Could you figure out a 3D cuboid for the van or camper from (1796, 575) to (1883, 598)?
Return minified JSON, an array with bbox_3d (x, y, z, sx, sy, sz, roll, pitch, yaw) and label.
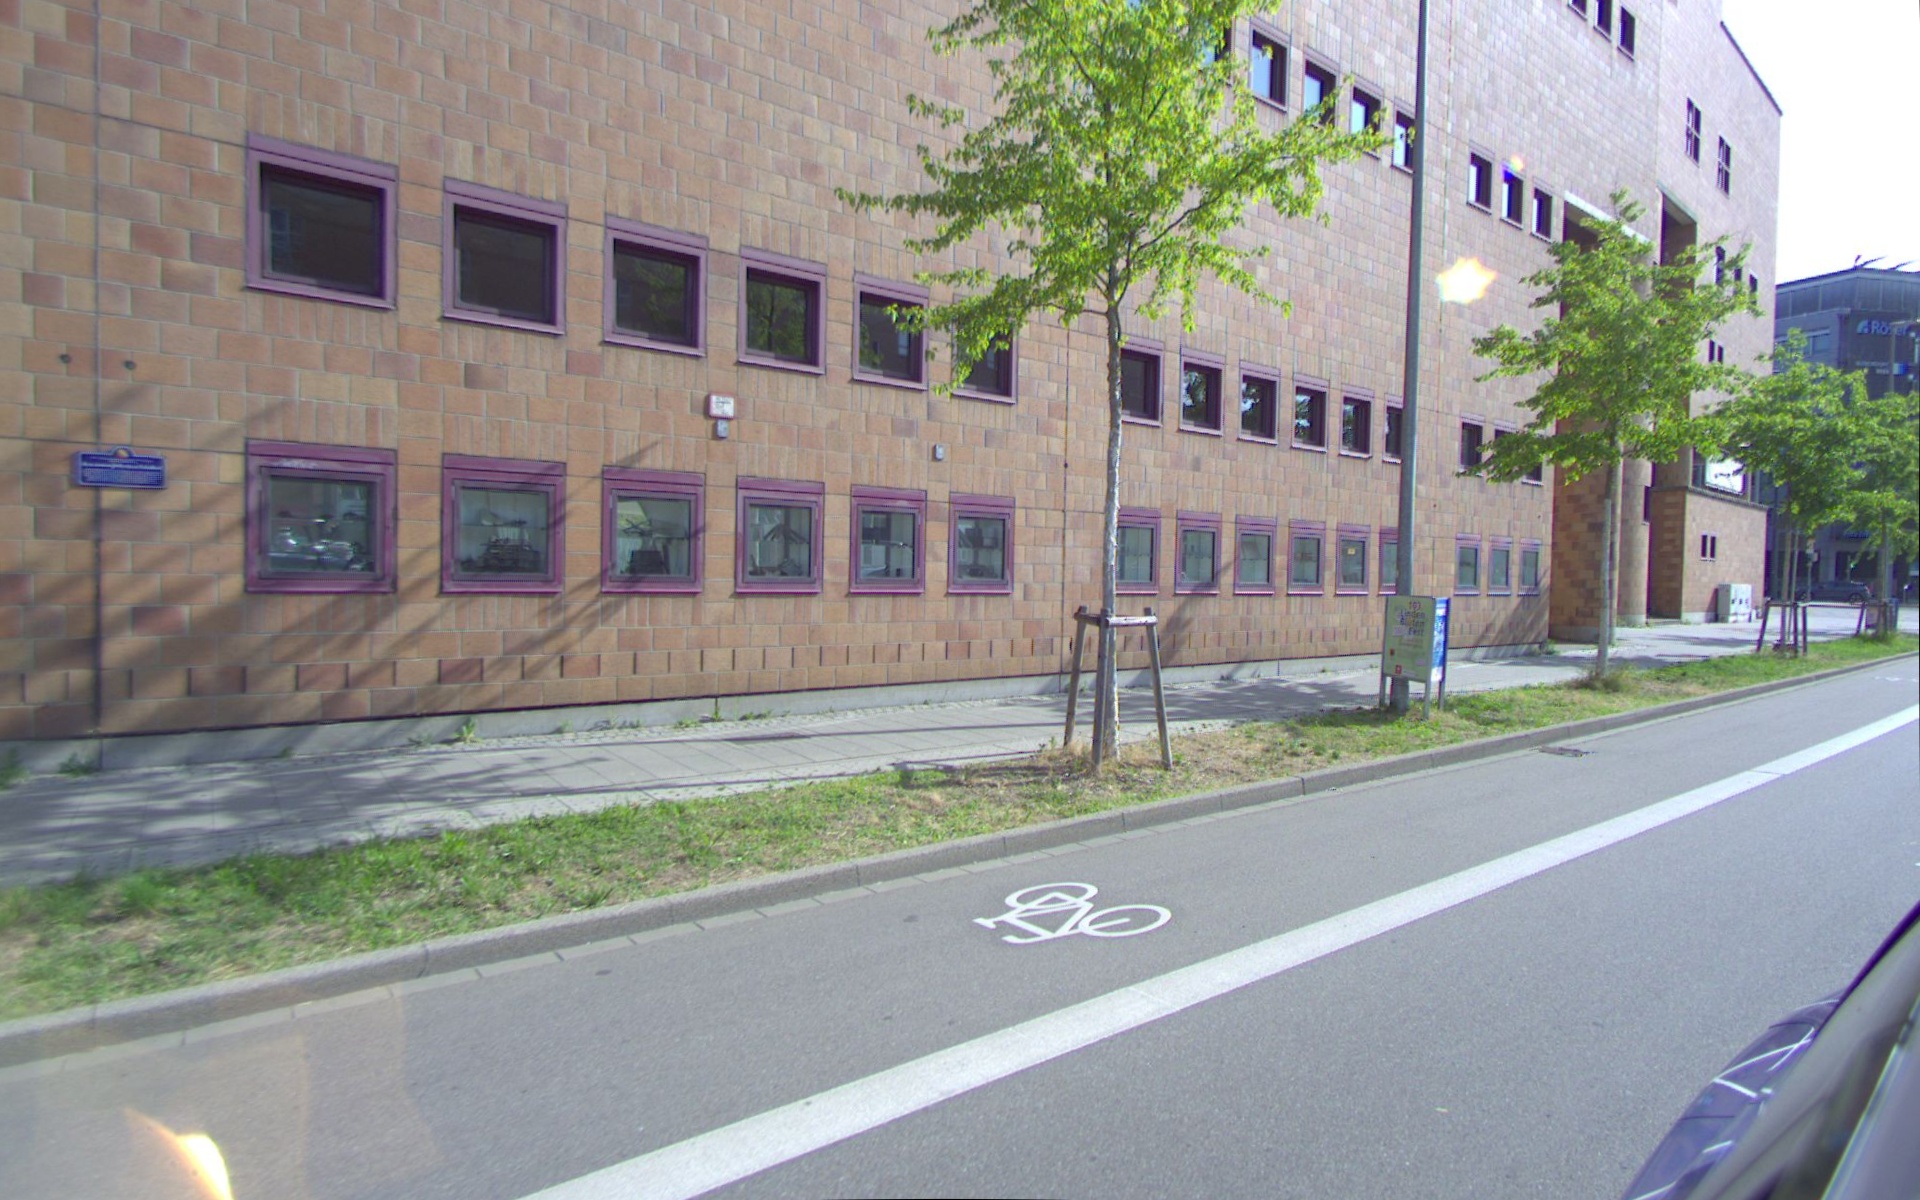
[{"bbox_3d":[61.230,-0.978,70.542,4.174,1.459,1.981,2,3,28],"label":"van or camper"}]
